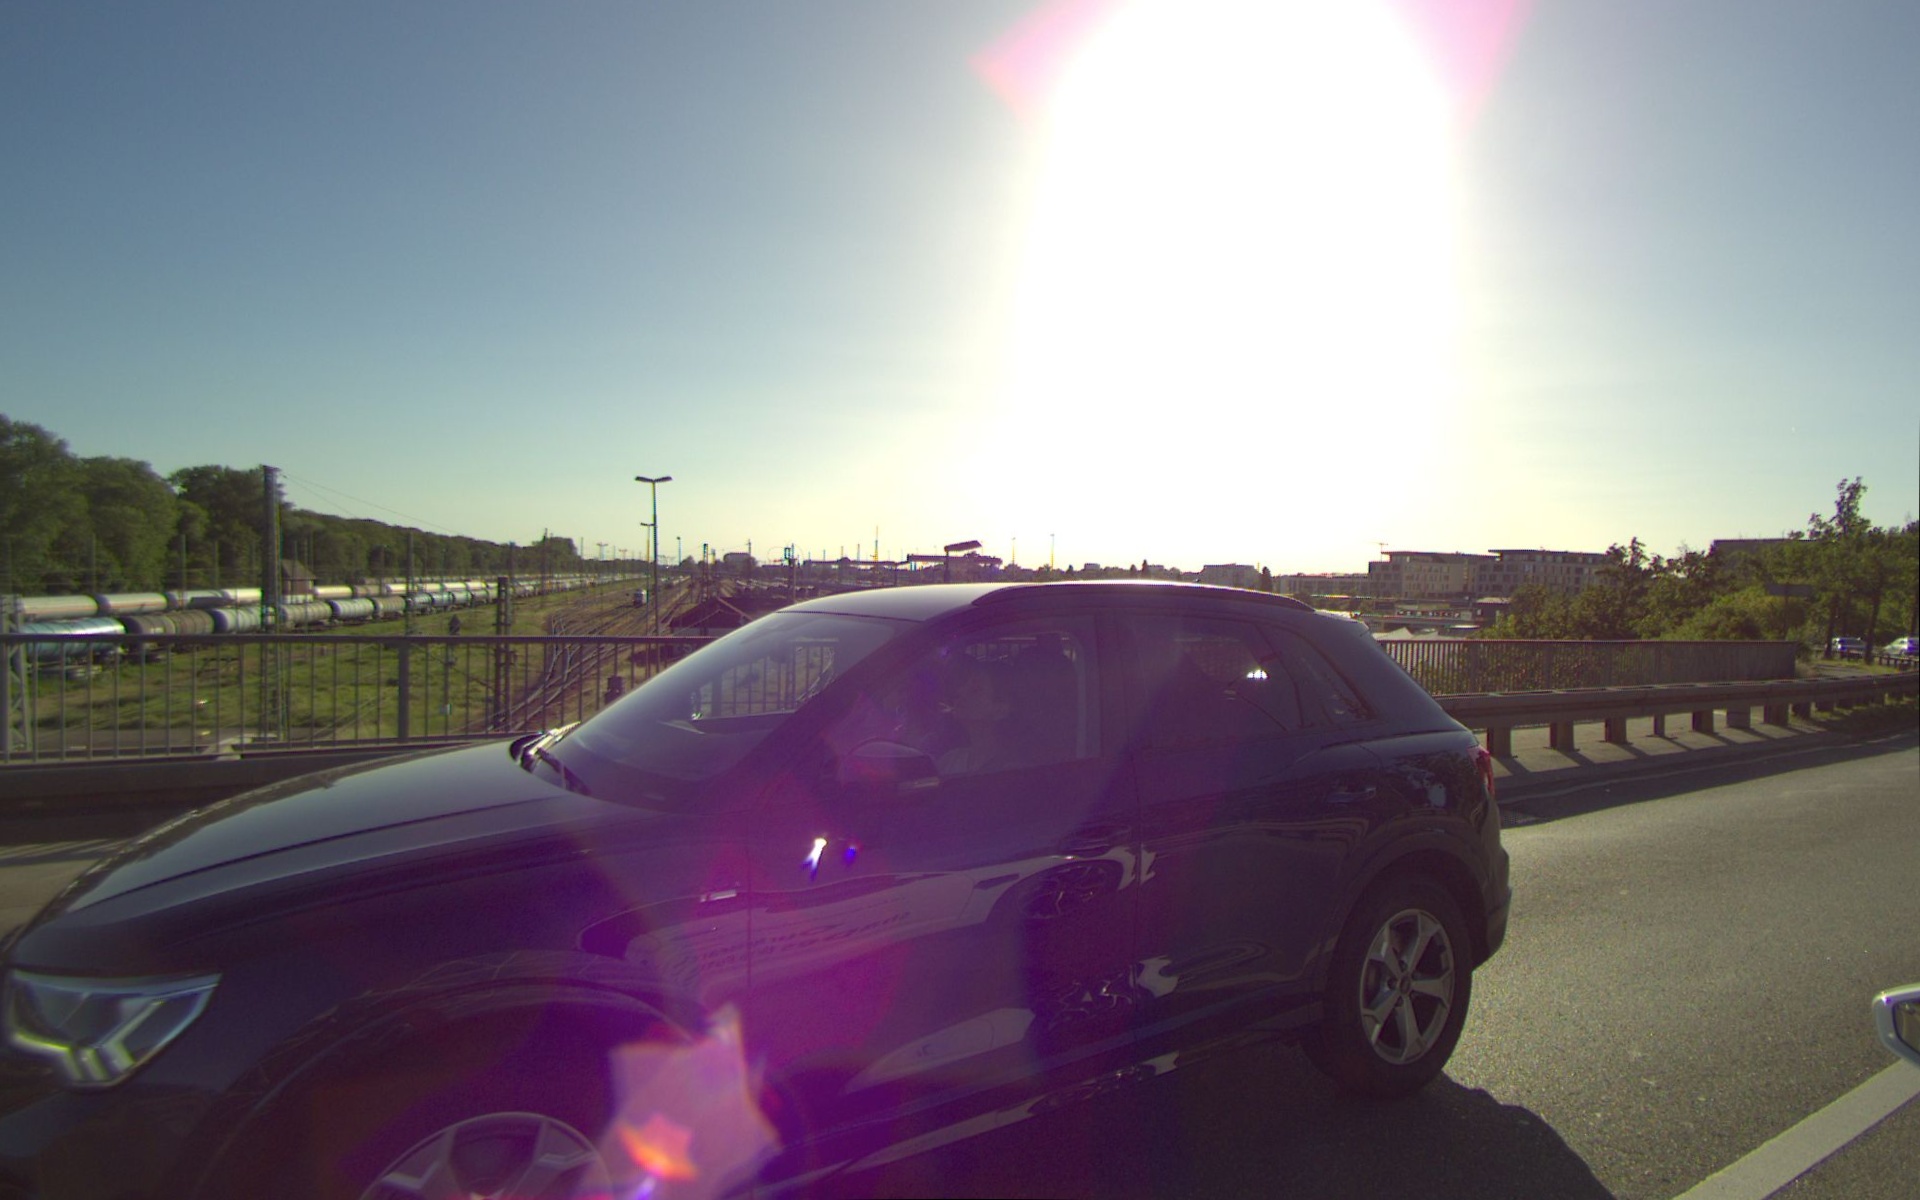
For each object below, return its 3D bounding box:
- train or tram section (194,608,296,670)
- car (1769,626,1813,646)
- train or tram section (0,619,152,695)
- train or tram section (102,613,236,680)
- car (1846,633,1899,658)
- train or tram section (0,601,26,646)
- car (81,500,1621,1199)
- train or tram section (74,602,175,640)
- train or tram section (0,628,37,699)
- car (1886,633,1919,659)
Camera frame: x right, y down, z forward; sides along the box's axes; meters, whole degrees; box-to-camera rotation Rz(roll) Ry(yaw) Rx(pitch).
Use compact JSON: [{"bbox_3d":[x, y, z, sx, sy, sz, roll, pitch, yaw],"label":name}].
[{"bbox_3d":[-83.114,4.300,117.341,3.840,6.699,16.459,1,-1,-14],"label":"train or tram section"},{"bbox_3d":[70.737,3.020,85.541,1.806,1.576,3.892,1,-1,22],"label":"car"},{"bbox_3d":[-75.065,4.547,84.919,3.840,5.592,16.459,1,-1,-14],"label":"train or tram section"},{"bbox_3d":[-79.076,4.459,101.117,3.840,6.089,16.913,1,-1,-14],"label":"train or tram section"},{"bbox_3d":[58.691,2.892,64.651,1.766,1.450,3.818,1,-1,31],"label":"car"},{"bbox_3d":[-110.931,2.660,110.412,3.981,5.154,18.132,1,-1,-15],"label":"train or tram section"},{"bbox_3d":[0.103,0.695,3.237,4.137,1.572,1.814,1,-1,-32],"label":"car"},{"bbox_3d":[-120.125,2.931,145.012,3.981,5.154,17.813,1,-1,-15],"label":"train or tram section"},{"bbox_3d":[-71.134,4.660,69.033,3.840,5.083,16.321,1,-1,-14],"label":"train or tram section"},{"bbox_3d":[61.517,2.945,64.824,1.832,1.606,3.906,1,-1,31],"label":"car"}]
